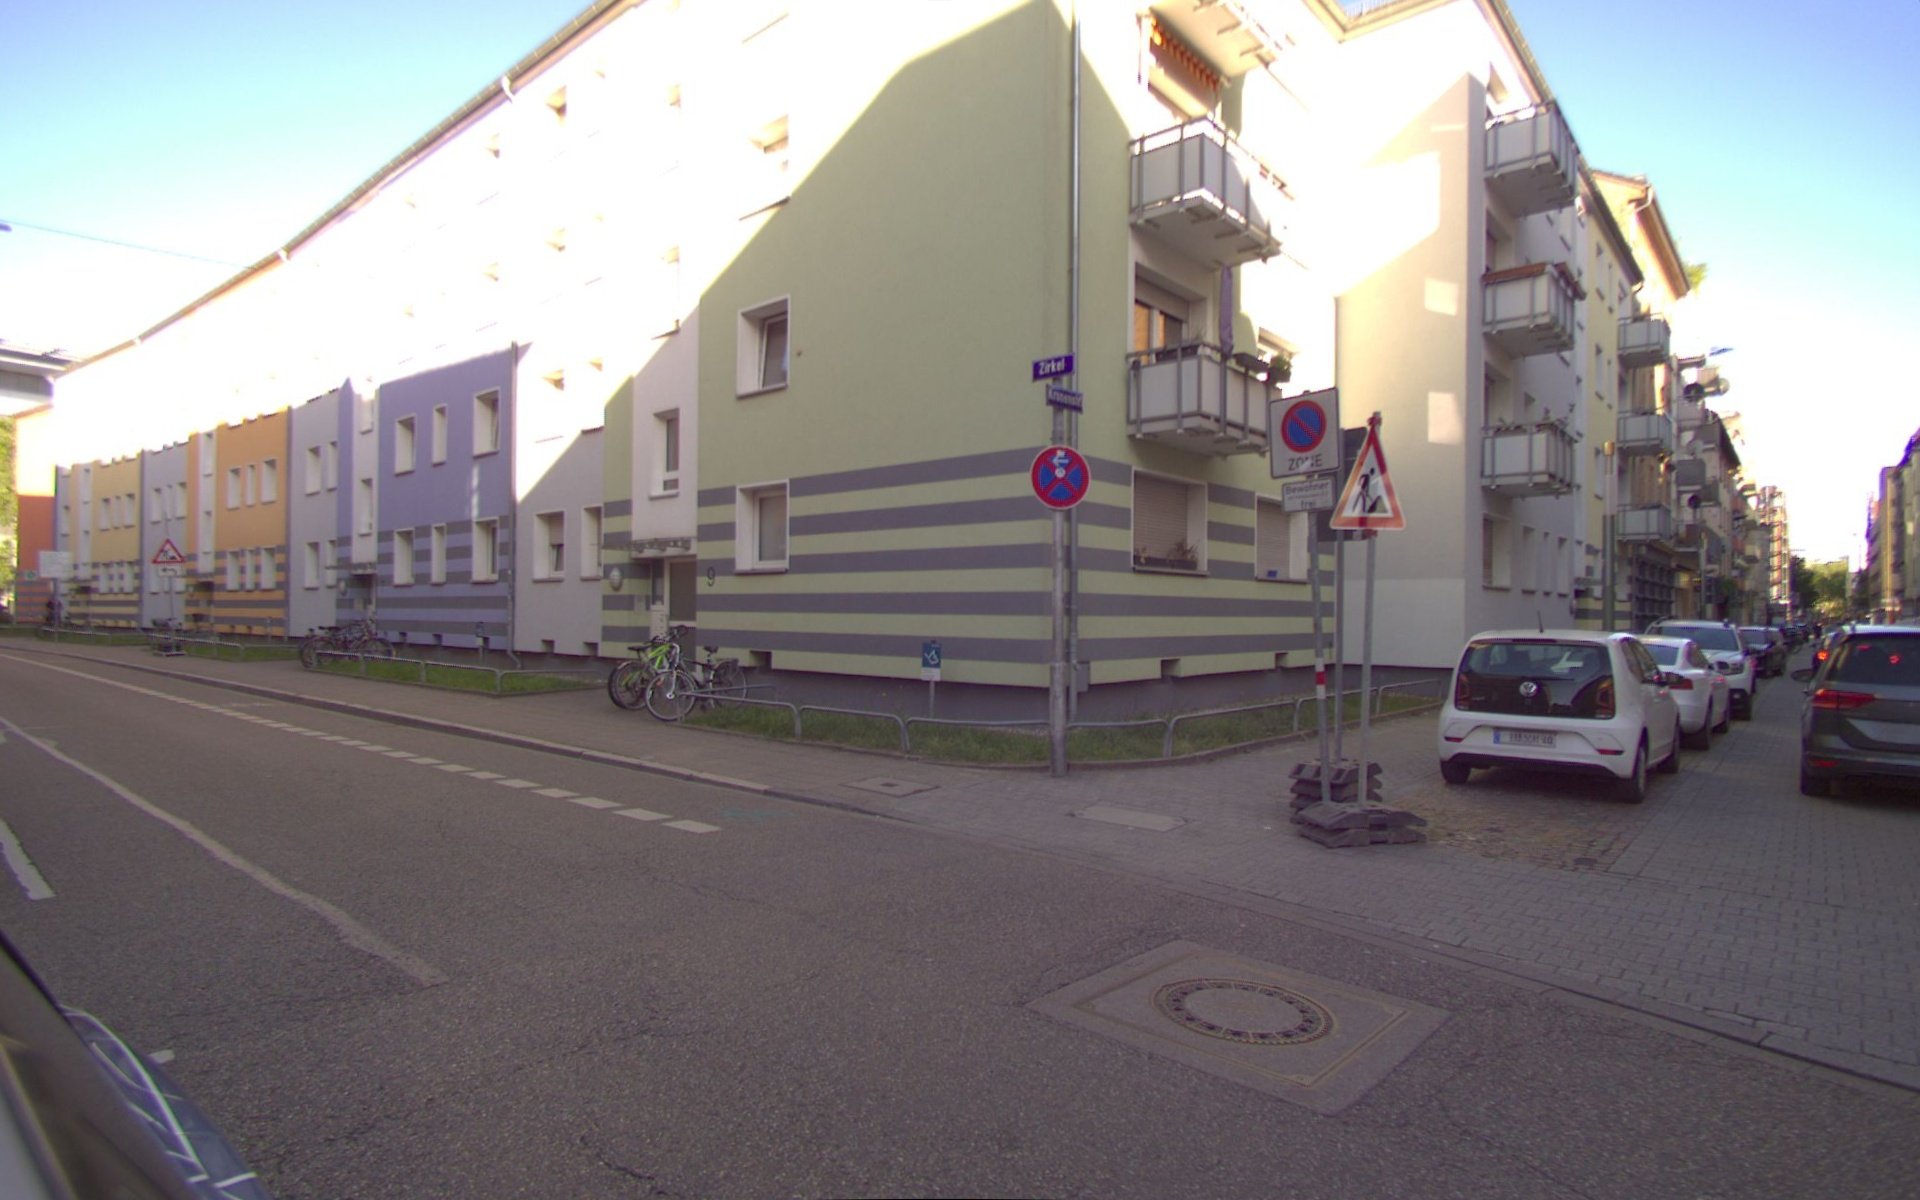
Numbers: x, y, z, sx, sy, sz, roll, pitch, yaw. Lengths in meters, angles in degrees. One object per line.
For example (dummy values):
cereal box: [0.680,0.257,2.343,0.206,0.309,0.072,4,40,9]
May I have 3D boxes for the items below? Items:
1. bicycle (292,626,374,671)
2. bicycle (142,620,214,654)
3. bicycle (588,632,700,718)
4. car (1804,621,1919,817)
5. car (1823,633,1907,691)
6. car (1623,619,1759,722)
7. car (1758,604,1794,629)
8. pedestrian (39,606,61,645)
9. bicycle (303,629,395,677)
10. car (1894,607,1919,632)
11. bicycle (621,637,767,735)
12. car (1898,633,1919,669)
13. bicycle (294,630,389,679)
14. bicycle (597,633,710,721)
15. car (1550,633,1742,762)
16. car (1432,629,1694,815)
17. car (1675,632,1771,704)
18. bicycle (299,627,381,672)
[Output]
bicycle: [-15.513,1.187,25.067,0.388,0.953,1.636,-1,2,41]
bicycle: [-26.516,1.247,34.354,0.653,0.990,1.786,-1,3,38]
bicycle: [-4.784,1.114,15.432,0.387,1.109,1.719,-1,2,34]
car: [9.304,1.003,9.648,1.786,1.580,4.112,-1,-1,42]
car: [24.359,1.618,27.275,1.585,1.392,3.847,-1,-1,42]
car: [13.240,1.183,18.262,1.757,1.623,4.094,-2,-2,38]
car: [51.168,1.030,63.434,1.585,1.519,3.847,-1,-1,42]
pedestrian: [-39.508,1.116,43.953,0.447,1.663,0.605,0,-1,35]
bicycle: [-14.370,1.224,23.850,0.388,0.953,1.780,-1,2,41]
car: [48.054,0.951,50.498,1.784,1.196,3.045,-2,-2,37]
bicycle: [-3.636,1.138,13.949,0.749,1.109,1.797,-1,2,41]
car: [33.877,1.747,35.181,1.468,1.196,3.045,-2,-2,37]
bicycle: [-14.092,1.232,23.116,0.388,0.953,1.780,-1,2,41]
bicycle: [-4.534,1.116,15.104,0.387,1.109,1.719,-1,2,34]
car: [9.486,1.188,13.843,1.758,1.408,4.271,0,-1,40]
car: [6.032,1.037,9.975,1.724,1.448,3.300,-1,-1,40]
car: [16.441,1.410,21.757,1.485,1.400,3.360,-2,-2,39]
bicycle: [-15.182,1.204,24.829,0.388,0.953,1.636,-1,2,41]
